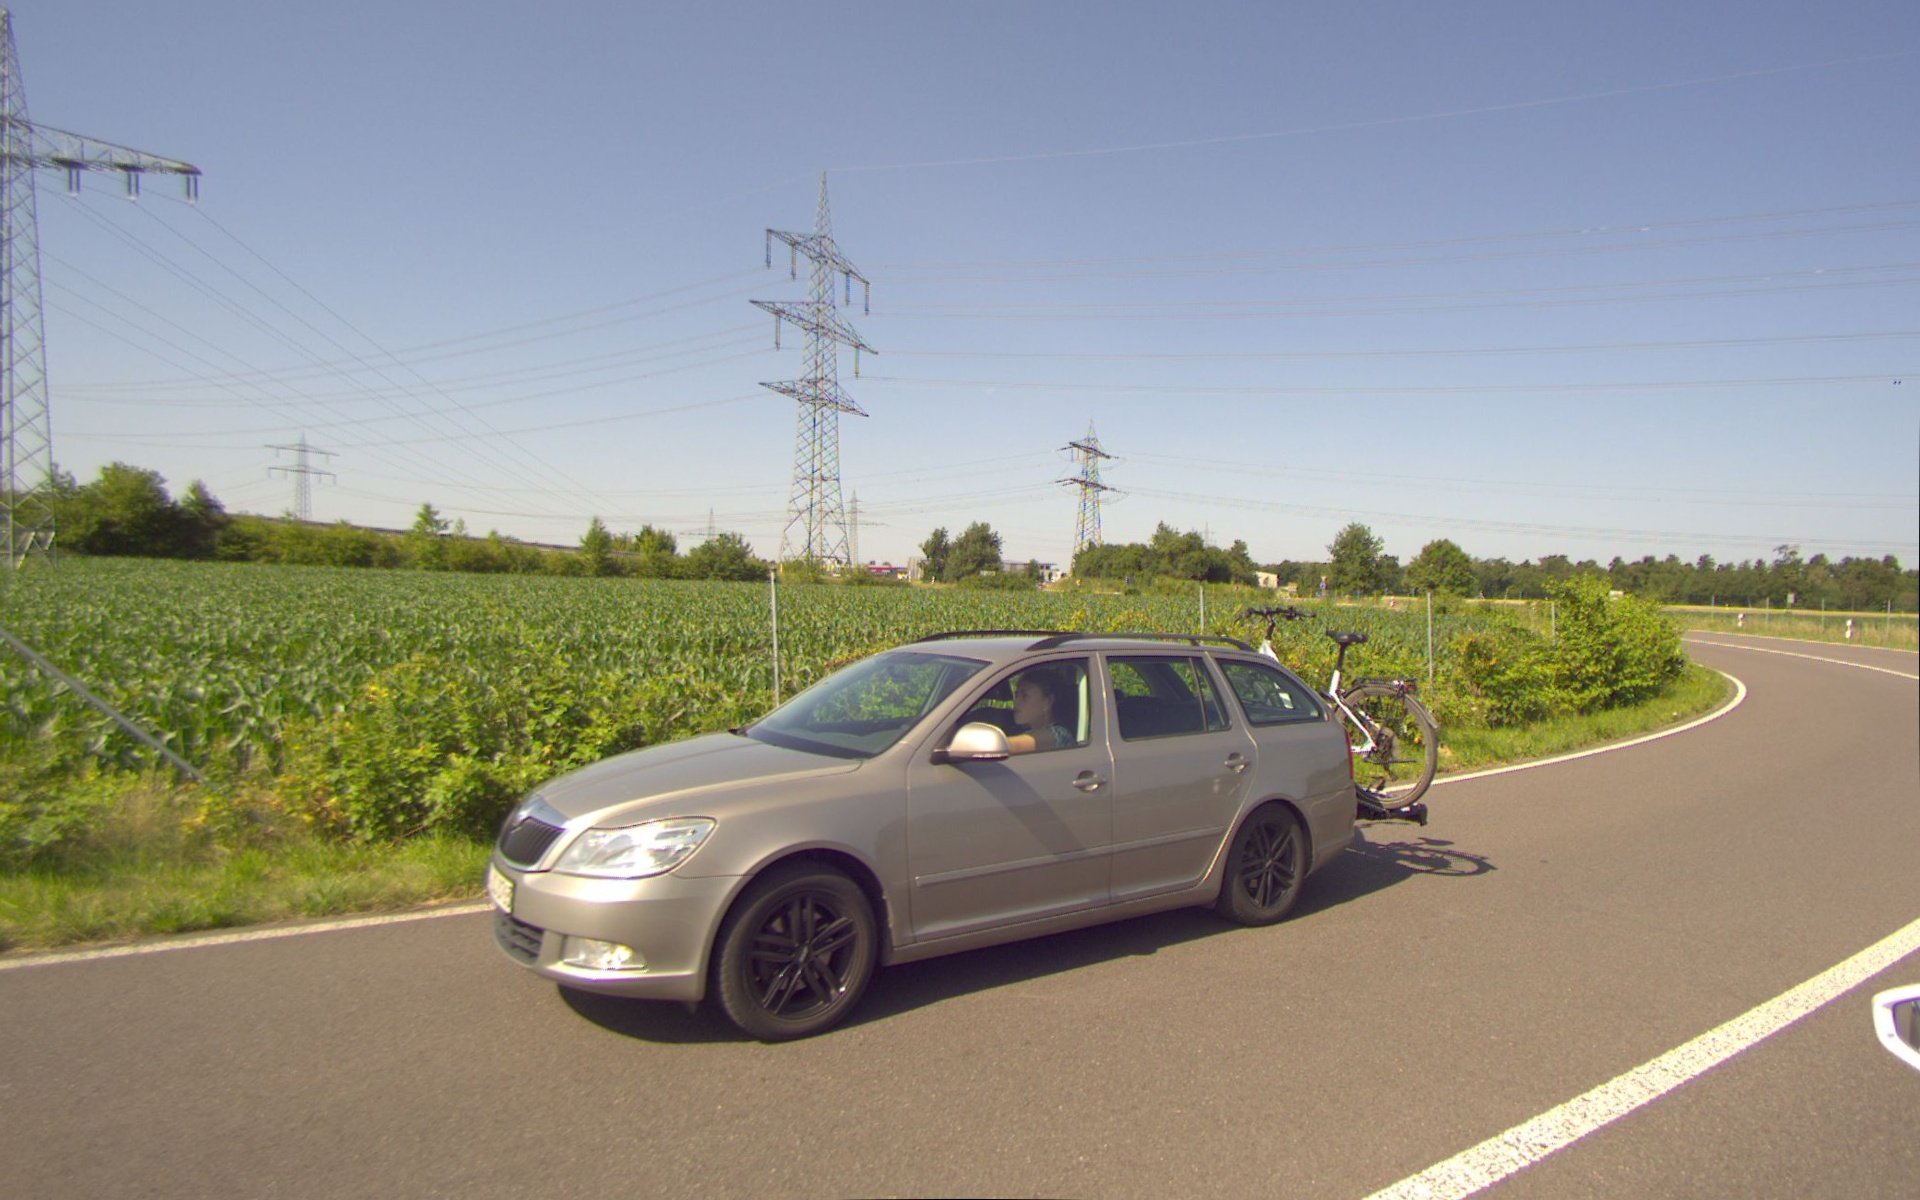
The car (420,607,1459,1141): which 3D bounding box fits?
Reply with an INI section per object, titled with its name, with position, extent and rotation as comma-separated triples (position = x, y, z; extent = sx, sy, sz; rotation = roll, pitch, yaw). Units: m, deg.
[car]
position = 0.248, 0.850, 5.074
extent = 5.084, 1.500, 1.855
rotation = 1, -3, -35
